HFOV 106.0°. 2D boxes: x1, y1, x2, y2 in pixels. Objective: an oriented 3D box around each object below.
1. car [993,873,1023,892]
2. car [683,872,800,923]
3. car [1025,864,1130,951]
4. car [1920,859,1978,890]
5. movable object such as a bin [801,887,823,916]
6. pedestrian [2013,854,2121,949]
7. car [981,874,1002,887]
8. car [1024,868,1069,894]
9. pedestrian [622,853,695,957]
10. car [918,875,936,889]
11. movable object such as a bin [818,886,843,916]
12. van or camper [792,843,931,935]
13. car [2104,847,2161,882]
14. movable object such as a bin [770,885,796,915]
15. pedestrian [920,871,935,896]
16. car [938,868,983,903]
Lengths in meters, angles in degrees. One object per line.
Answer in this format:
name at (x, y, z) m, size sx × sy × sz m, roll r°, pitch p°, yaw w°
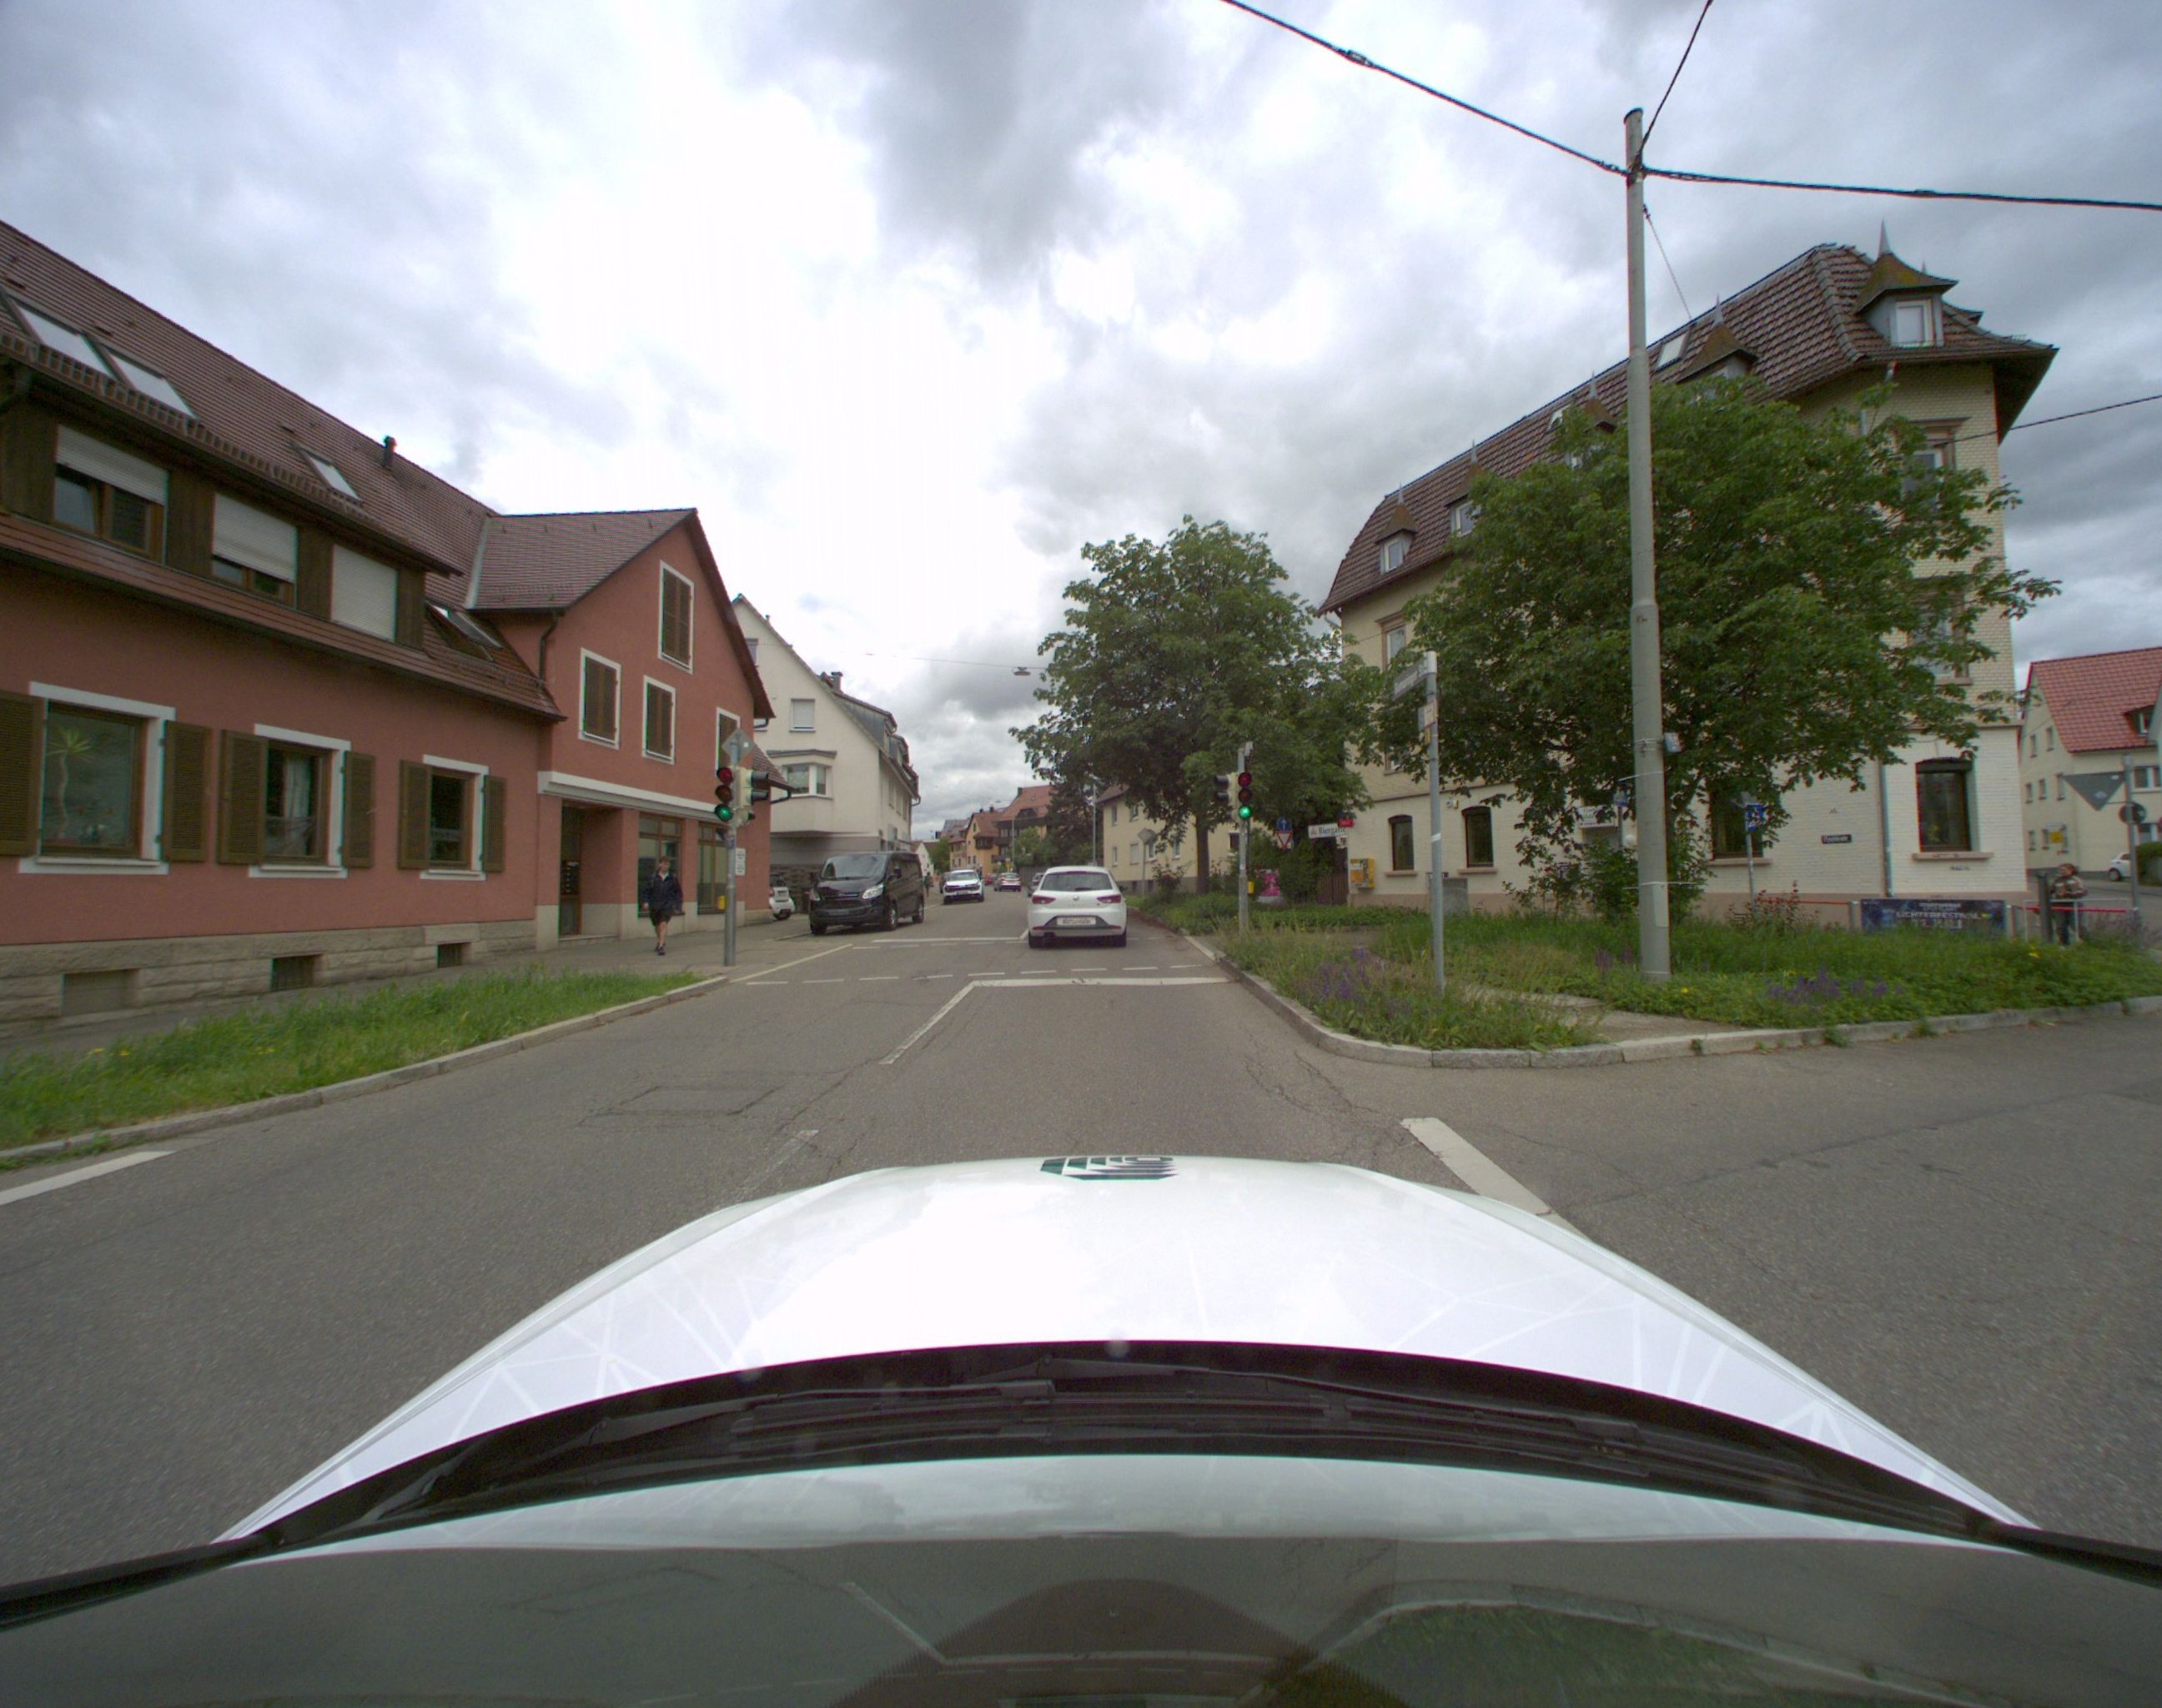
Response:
car at (-5.760, 2.220, 64.108) m, size 1.761 × 1.452 × 3.980 m, roll 0°, pitch -2°, yaw -14°
car at (-10.483, 1.328, 25.285) m, size 2.817 × 1.475 × 1.744 m, roll -1°, pitch -2°, yaw 4°
car at (-0.064, 0.946, 15.698) m, size 1.753 × 1.452 × 3.998 m, roll 0°, pitch -1°, yaw 0°
car at (58.699, 1.371, 55.171) m, size 1.974 × 2.014 × 4.025 m, roll 1°, pitch -1°, yaw 36°
movable object such as a bin at (-9.677, 1.709, 29.324) m, size 0.531 × 0.971 × 0.635 m, roll 1°, pitch -1°, yaw 1°
pedestrian at (18.777, 0.886, 15.536) m, size 1.014 × 1.733 × 0.861 m, roll 1°, pitch -1°, yaw 2°
car at (-10.576, 3.140, 96.036) m, size 1.763 × 1.452 × 3.976 m, roll 0°, pitch -2°, yaw -17°
car at (-2.041, 1.552, 46.898) m, size 1.761 × 1.452 × 3.979 m, roll 0°, pitch -2°, yaw -15°
pedestrian at (-7.436, 0.872, 14.373) m, size 0.797 × 1.785 × 0.893 m, roll 0°, pitch -1°, yaw 1°
car at (-18.042, 3.228, 95.210) m, size 1.802 × 1.479 × 4.030 m, roll -3°, pitch -1°, yaw -15°
movable object such as a bin at (-9.062, 1.682, 29.470) m, size 0.664 × 1.018 × 0.795 m, roll -1°, pitch -1°, yaw -2°
van or camper at (-5.424, 0.900, 20.882) m, size 2.066 × 2.006 × 4.858 m, roll -3°, pitch -3°, yaw 1°
car at (50.542, 0.522, 38.559) m, size 1.800 × 1.600 × 3.912 m, roll 0°, pitch -1°, yaw 39°
movable object such as a bin at (-10.734, 1.660, 29.353) m, size 0.664 × 1.018 × 0.795 m, roll -1°, pitch -1°, yaw -2°
pedestrian at (-9.195, 1.780, 48.792) m, size 0.806 × 1.500 × 0.972 m, roll 2°, pitch -3°, yaw -9°
car at (-5.878, 1.530, 40.261) m, size 1.995 × 1.633 × 4.846 m, roll 0°, pitch -2°, yaw -6°
